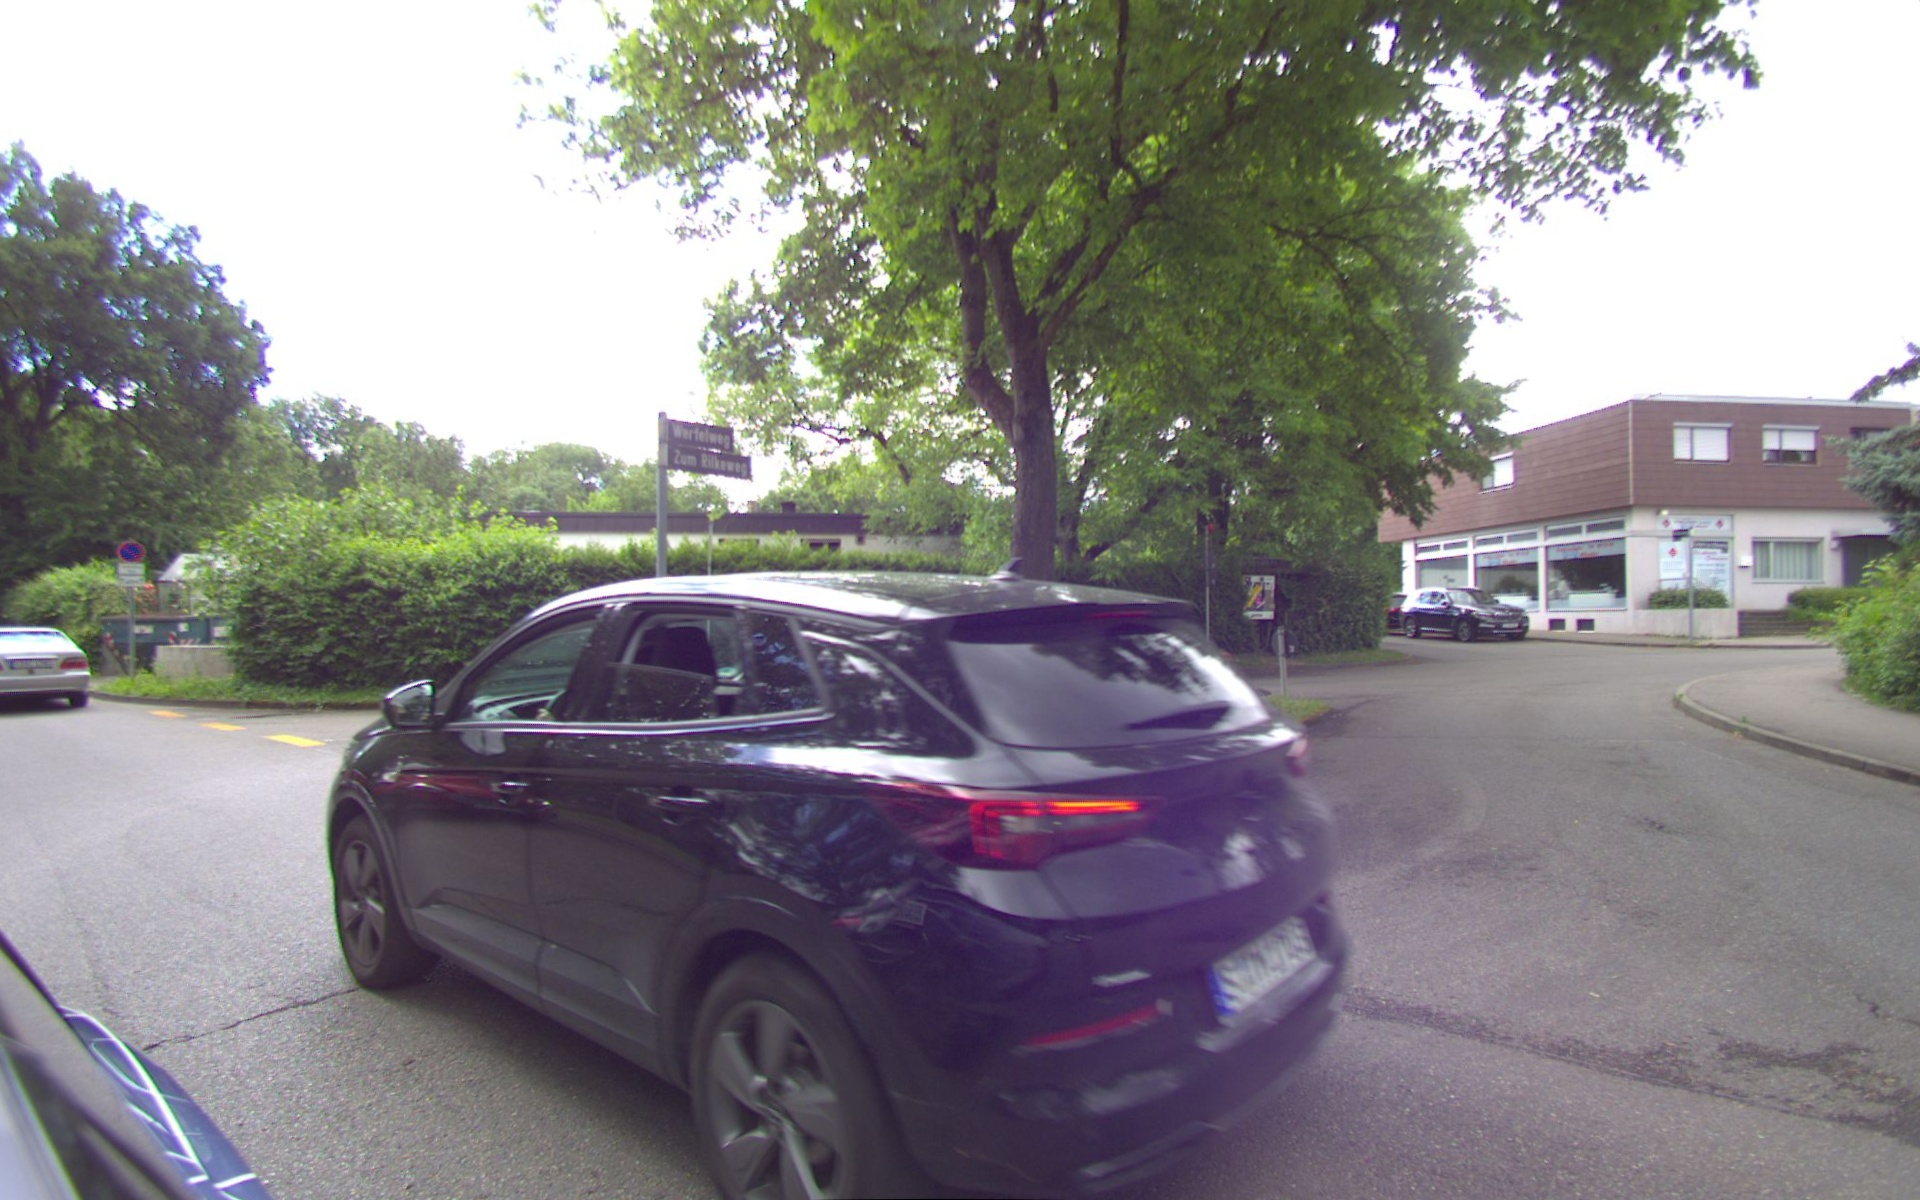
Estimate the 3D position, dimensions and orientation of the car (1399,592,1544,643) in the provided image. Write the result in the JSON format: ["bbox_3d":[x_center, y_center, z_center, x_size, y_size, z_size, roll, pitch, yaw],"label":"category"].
[{"bbox_3d":[15.925,0.550,31.806,1.969,1.386,4.285,-3,-1,-6],"label":"car"}]

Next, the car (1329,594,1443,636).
[{"bbox_3d":[15.408,0.551,36.843,1.943,1.386,4.007,-2,-1,-8],"label":"car"}]

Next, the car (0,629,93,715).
[{"bbox_3d":[-16.393,1.189,17.429,4.296,1.316,1.761,-2,-1,43],"label":"car"}]

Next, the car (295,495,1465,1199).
[{"bbox_3d":[-0.764,0.690,3.660,4.296,1.603,1.783,-2,-1,43],"label":"car"}]
